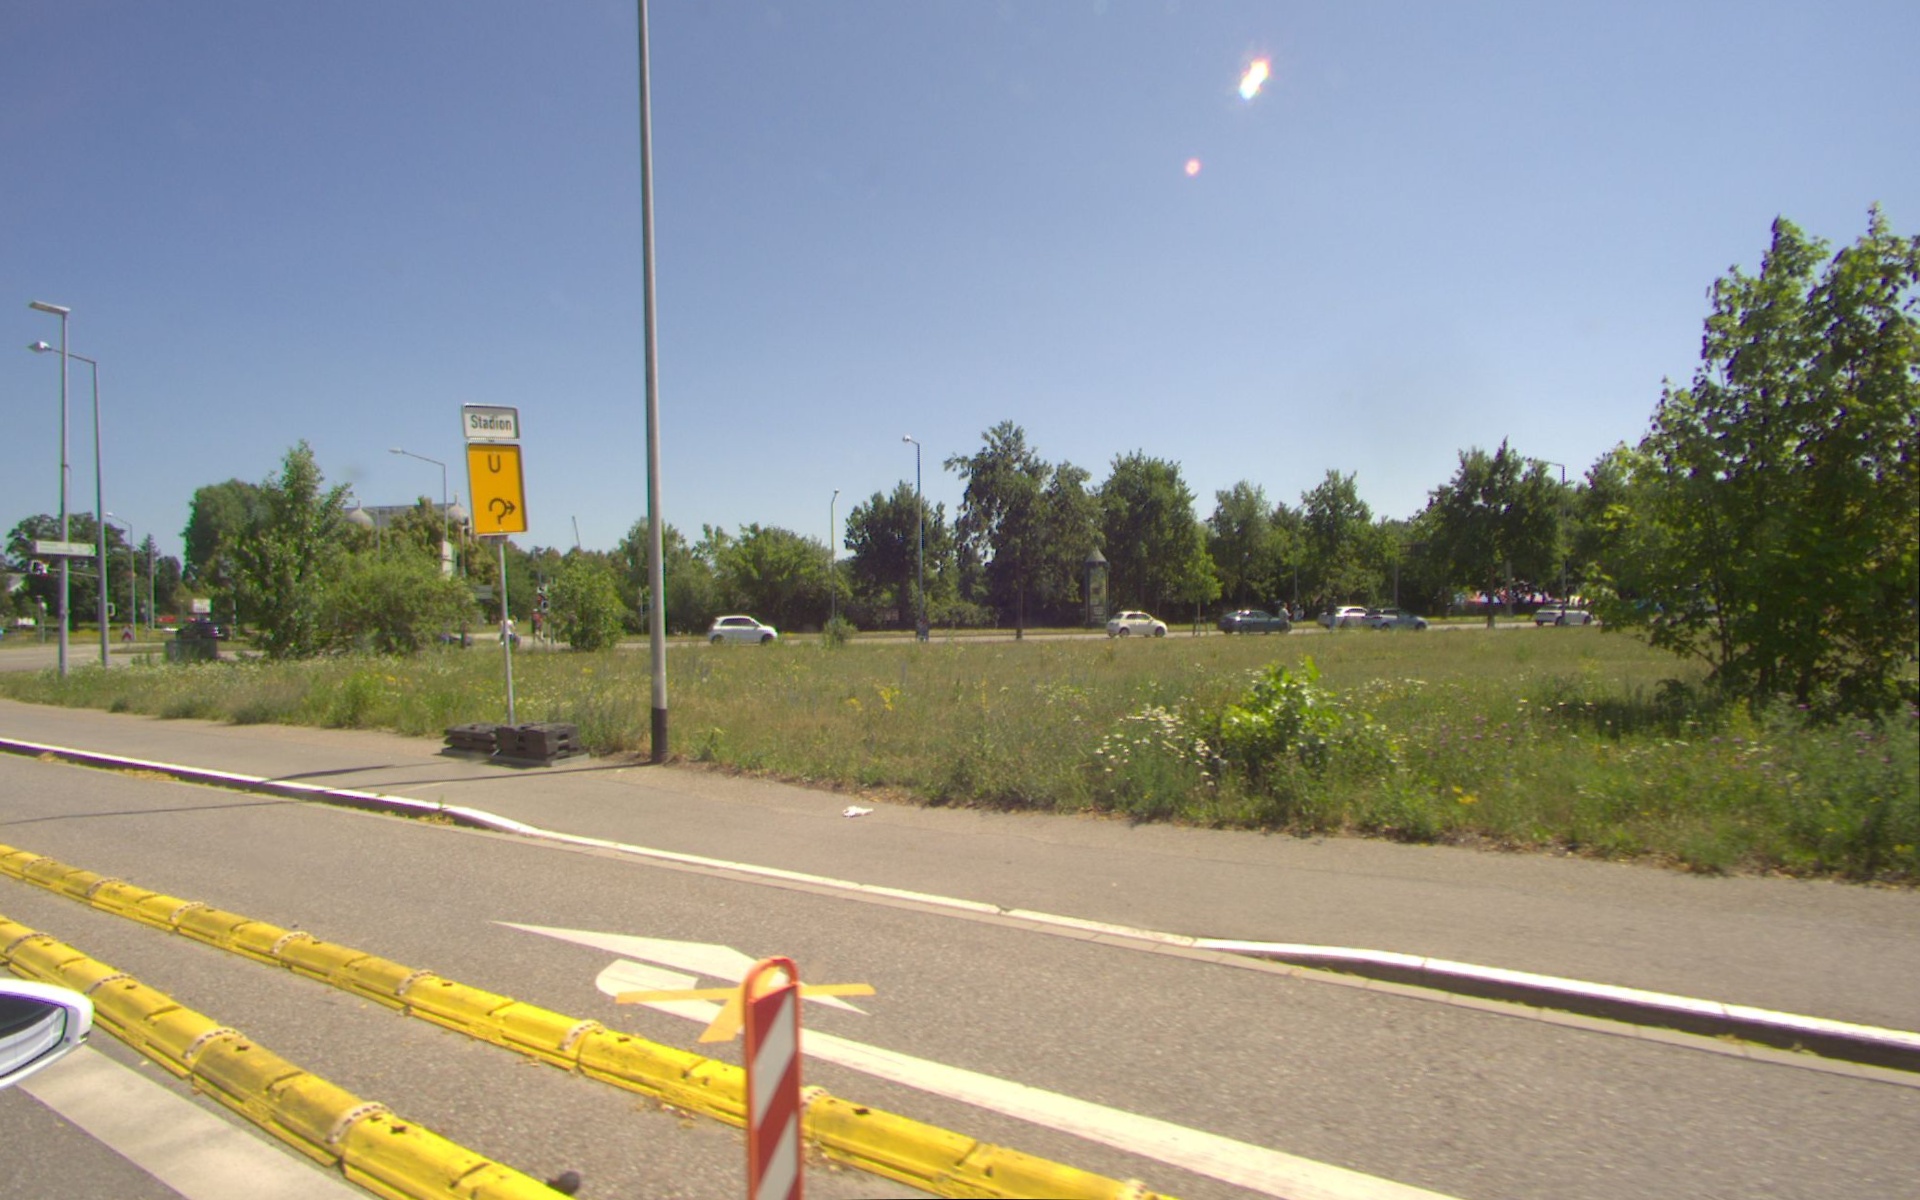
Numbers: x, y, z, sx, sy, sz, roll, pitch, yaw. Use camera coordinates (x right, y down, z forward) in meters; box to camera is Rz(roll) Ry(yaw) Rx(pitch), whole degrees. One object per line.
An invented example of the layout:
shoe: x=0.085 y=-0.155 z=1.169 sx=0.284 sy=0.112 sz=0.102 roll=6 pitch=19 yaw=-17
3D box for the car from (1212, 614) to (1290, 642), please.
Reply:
car: x=17.398 y=1.694 z=59.808 sx=4.336 sy=1.572 sz=1.736 roll=1 pitch=-2 yaw=-22

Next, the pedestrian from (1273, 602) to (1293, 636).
pedestrian: x=15.190 y=0.895 z=47.135 sx=0.724 sy=1.583 sz=0.497 roll=0 pitch=-1 yaw=-18

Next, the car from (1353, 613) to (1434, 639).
car: x=25.832 y=1.538 z=59.700 sx=3.999 sy=1.524 sz=1.999 roll=0 pitch=-1 yaw=-12

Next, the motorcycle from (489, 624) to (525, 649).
motorcycle: x=-18.265 y=1.469 z=40.386 sx=0.619 sy=0.982 sz=1.709 roll=0 pitch=-1 yaw=3

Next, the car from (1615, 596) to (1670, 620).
car: x=59.037 y=0.712 z=86.567 sx=3.931 sy=2.039 sz=1.996 roll=0 pitch=-1 yaw=-19

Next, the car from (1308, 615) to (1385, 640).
car: x=25.175 y=1.797 z=65.238 sx=4.559 sy=1.572 sz=1.738 roll=0 pitch=-1 yaw=-16

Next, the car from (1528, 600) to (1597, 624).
car: x=40.132 y=0.799 z=66.762 sx=3.928 sy=1.572 sz=1.738 roll=0 pitch=-1 yaw=-16

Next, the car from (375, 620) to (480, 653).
car: x=-24.088 y=1.623 z=45.428 sx=4.145 sy=1.408 sz=1.893 roll=0 pitch=-1 yaw=-28

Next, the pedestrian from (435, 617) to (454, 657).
pedestrian: x=-20.475 y=1.465 z=39.778 sx=0.506 sy=1.583 sz=0.496 roll=-1 pitch=-1 yaw=32

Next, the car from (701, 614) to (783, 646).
car: x=-11.182 y=1.524 z=51.396 sx=3.931 sy=1.572 sz=1.737 roll=0 pitch=-1 yaw=-19

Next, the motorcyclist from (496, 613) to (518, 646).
motorcyclist: x=-18.290 y=1.178 z=40.432 sx=0.570 sy=1.306 sz=0.615 roll=0 pitch=-1 yaw=3

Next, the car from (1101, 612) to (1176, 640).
car: x=10.291 y=1.500 z=57.733 sx=3.928 sy=1.572 sz=1.738 roll=0 pitch=-1 yaw=-16

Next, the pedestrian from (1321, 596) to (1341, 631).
pedestrian: x=18.303 y=0.678 z=49.406 sx=0.724 sy=1.712 sz=0.497 roll=0 pitch=-1 yaw=-18

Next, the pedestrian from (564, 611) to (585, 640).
pedestrian: x=-21.749 y=1.429 z=56.445 sx=0.811 sy=1.583 sz=0.791 roll=-1 pitch=-1 yaw=33

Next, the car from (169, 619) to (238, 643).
car: x=-57.218 y=2.316 z=75.776 sx=4.122 sy=1.695 sz=1.947 roll=-1 pitch=0 yaw=12

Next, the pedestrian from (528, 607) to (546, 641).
pedestrian: x=-23.635 y=1.335 z=56.004 sx=0.726 sy=1.894 sz=0.648 roll=-1 pitch=-1 yaw=33
